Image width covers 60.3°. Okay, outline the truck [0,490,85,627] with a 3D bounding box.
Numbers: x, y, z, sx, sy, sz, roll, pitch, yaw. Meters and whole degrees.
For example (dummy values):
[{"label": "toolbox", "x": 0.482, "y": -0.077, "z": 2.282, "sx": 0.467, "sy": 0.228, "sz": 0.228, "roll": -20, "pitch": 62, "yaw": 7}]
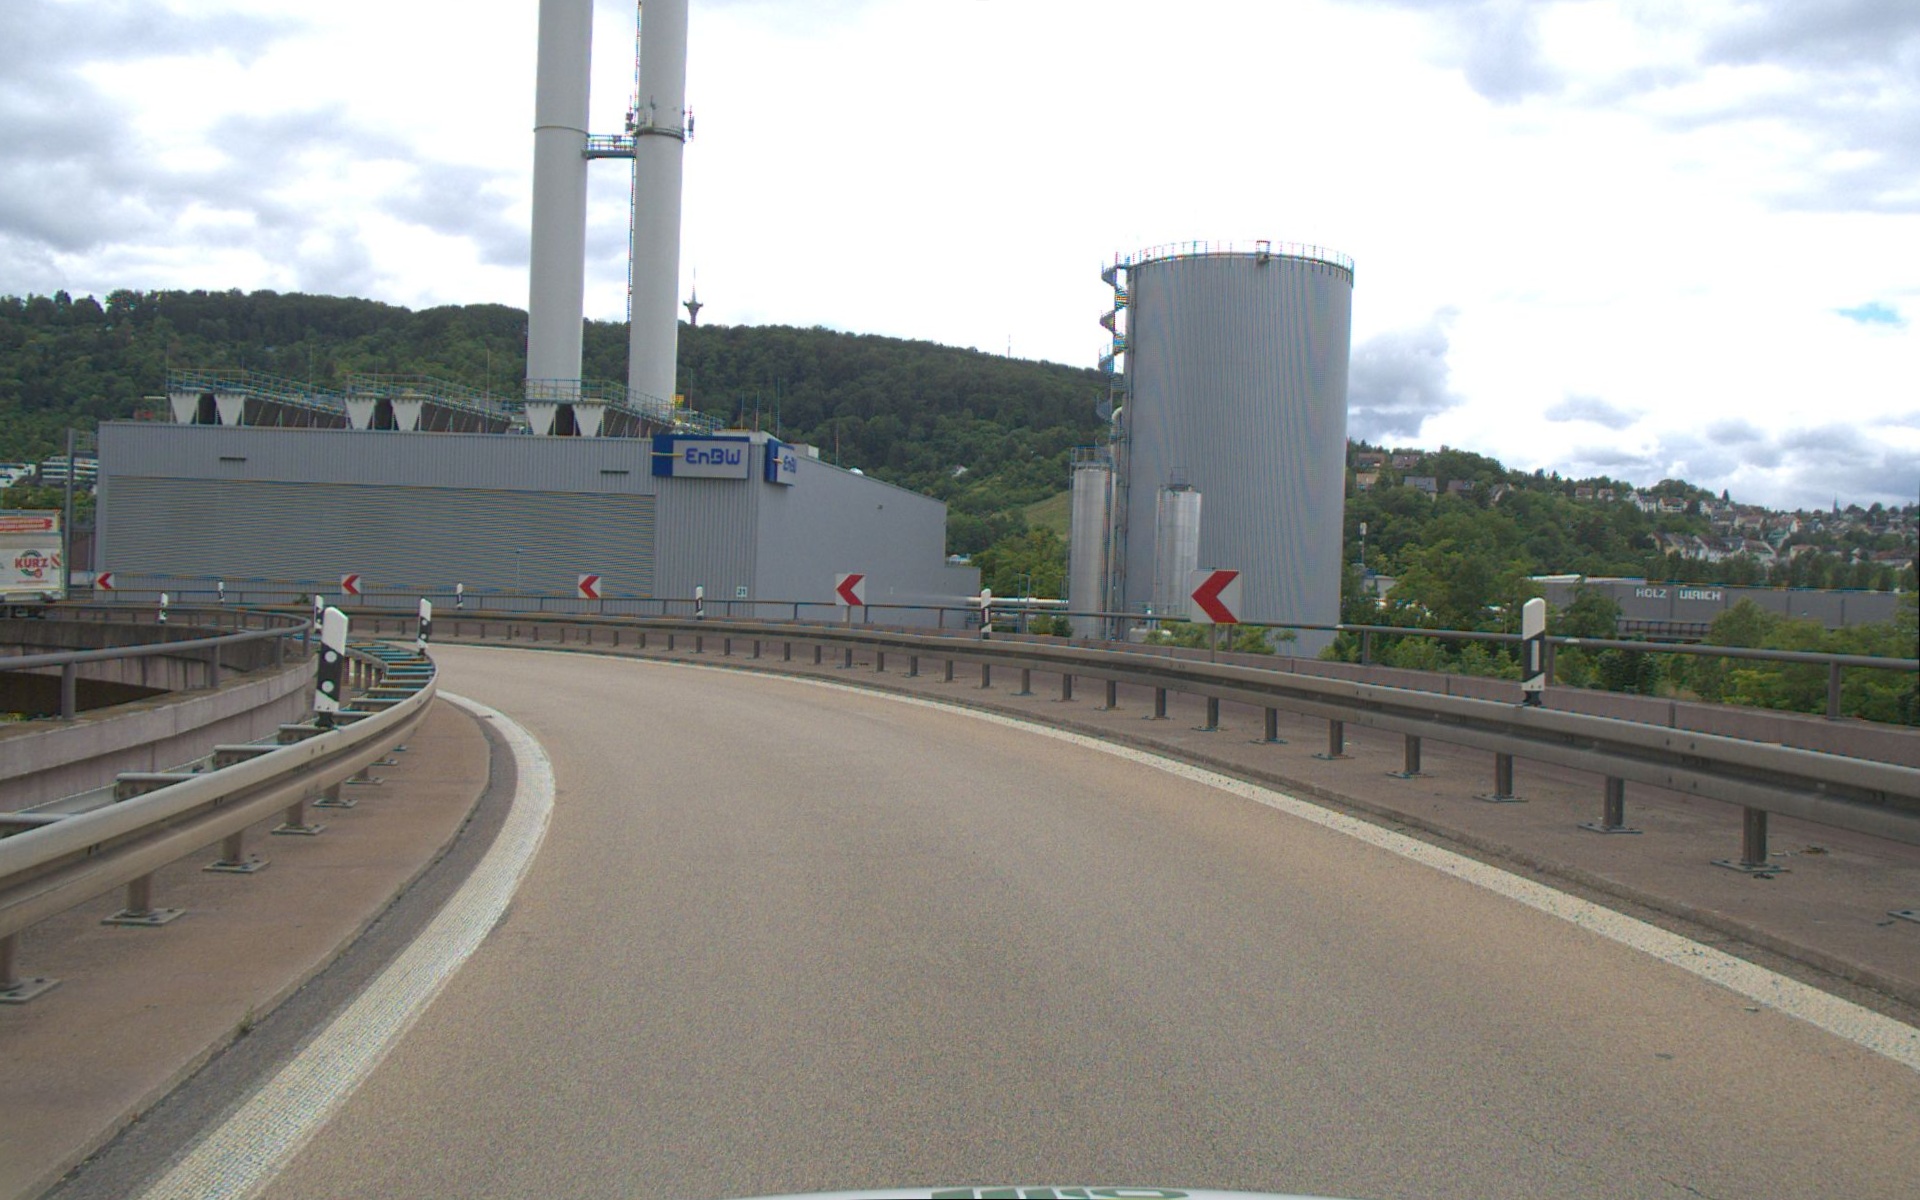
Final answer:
[{"label": "truck", "x": -29.440, "y": -1.207, "z": 48.016, "sx": 7.744, "sy": 3.737, "sz": 3.059, "roll": 1, "pitch": 0, "yaw": 25}]
